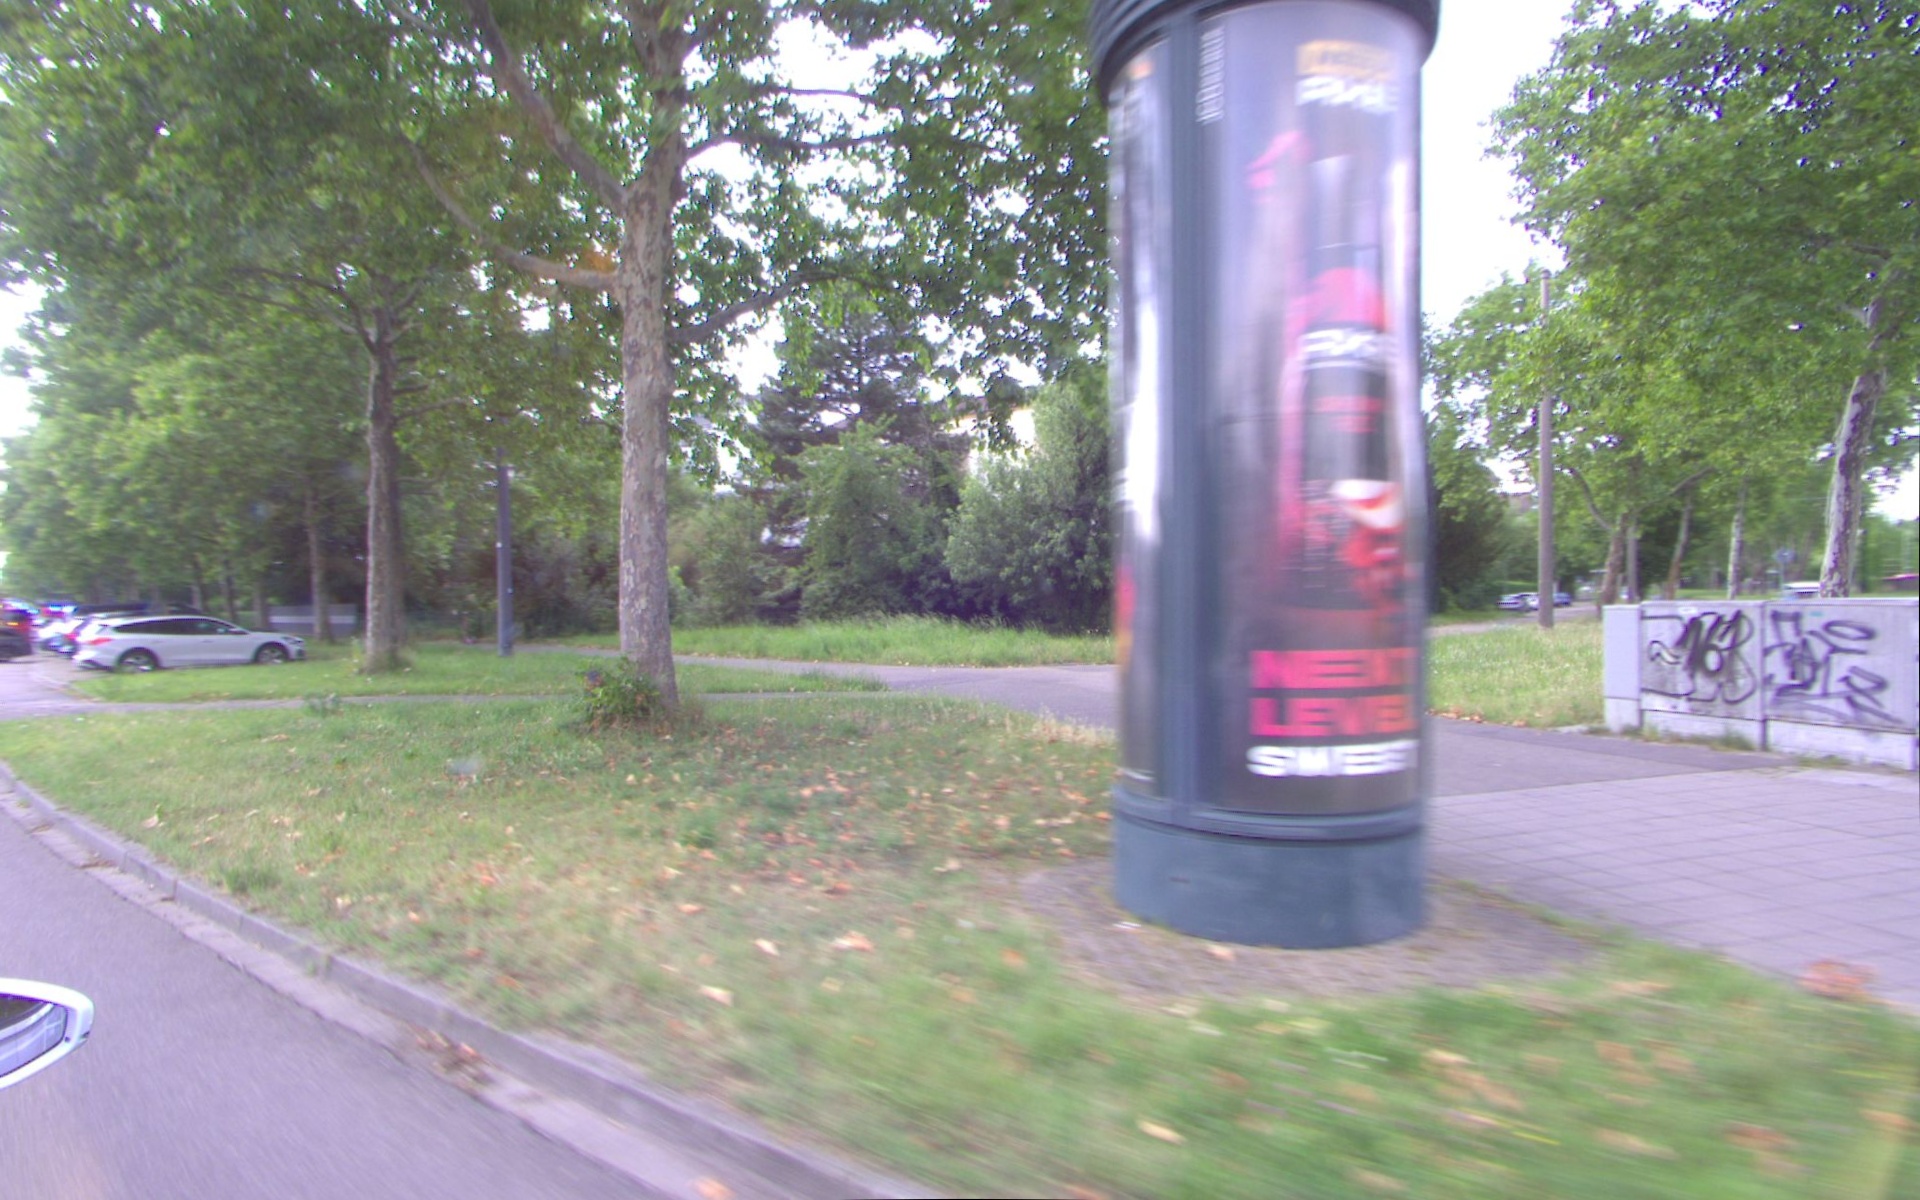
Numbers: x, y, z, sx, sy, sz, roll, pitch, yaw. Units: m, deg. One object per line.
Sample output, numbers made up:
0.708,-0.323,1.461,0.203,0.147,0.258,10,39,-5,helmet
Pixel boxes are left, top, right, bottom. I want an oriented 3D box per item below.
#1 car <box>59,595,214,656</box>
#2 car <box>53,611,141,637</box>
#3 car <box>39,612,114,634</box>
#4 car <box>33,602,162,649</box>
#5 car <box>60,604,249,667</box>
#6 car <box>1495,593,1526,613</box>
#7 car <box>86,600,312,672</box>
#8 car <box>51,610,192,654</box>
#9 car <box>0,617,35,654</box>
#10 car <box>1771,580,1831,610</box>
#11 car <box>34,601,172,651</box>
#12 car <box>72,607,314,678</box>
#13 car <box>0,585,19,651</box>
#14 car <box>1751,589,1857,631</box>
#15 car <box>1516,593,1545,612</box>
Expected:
-32.183,0.961,39.233,4.514,2.152,1.838,-2,1,-44,car
-61.383,1.701,71.278,1.836,1.630,4.519,-1,1,43,car
-74.052,1.920,83.958,1.836,1.630,4.519,-1,1,43,car
-41.813,1.213,48.636,1.836,2.071,4.519,-1,1,43,car
-24.575,1.034,30.679,4.347,1.661,1.740,-2,1,-41,car
40.466,0.212,73.592,1.657,1.409,3.284,-1,0,36,car
-20.601,0.908,27.270,1.828,1.648,4.630,0,1,43,car
-36.623,1.365,43.820,1.835,1.683,4.520,-1,1,42,car
-37.574,1.315,37.173,1.741,1.403,4.445,0,-2,32,car
50.399,-0.303,60.096,1.969,1.728,3.982,-1,0,29,car
-38.707,1.118,45.310,1.836,2.027,4.519,-1,1,43,car
-19.335,1.006,25.408,1.828,1.493,4.630,0,1,43,car
-46.337,0.845,47.147,2.623,3.004,6.244,2,-2,-41,car
33.131,0.369,39.458,1.968,1.533,4.671,-2,0,25,car
46.029,0.198,80.732,1.657,1.409,3.284,-1,0,36,car
